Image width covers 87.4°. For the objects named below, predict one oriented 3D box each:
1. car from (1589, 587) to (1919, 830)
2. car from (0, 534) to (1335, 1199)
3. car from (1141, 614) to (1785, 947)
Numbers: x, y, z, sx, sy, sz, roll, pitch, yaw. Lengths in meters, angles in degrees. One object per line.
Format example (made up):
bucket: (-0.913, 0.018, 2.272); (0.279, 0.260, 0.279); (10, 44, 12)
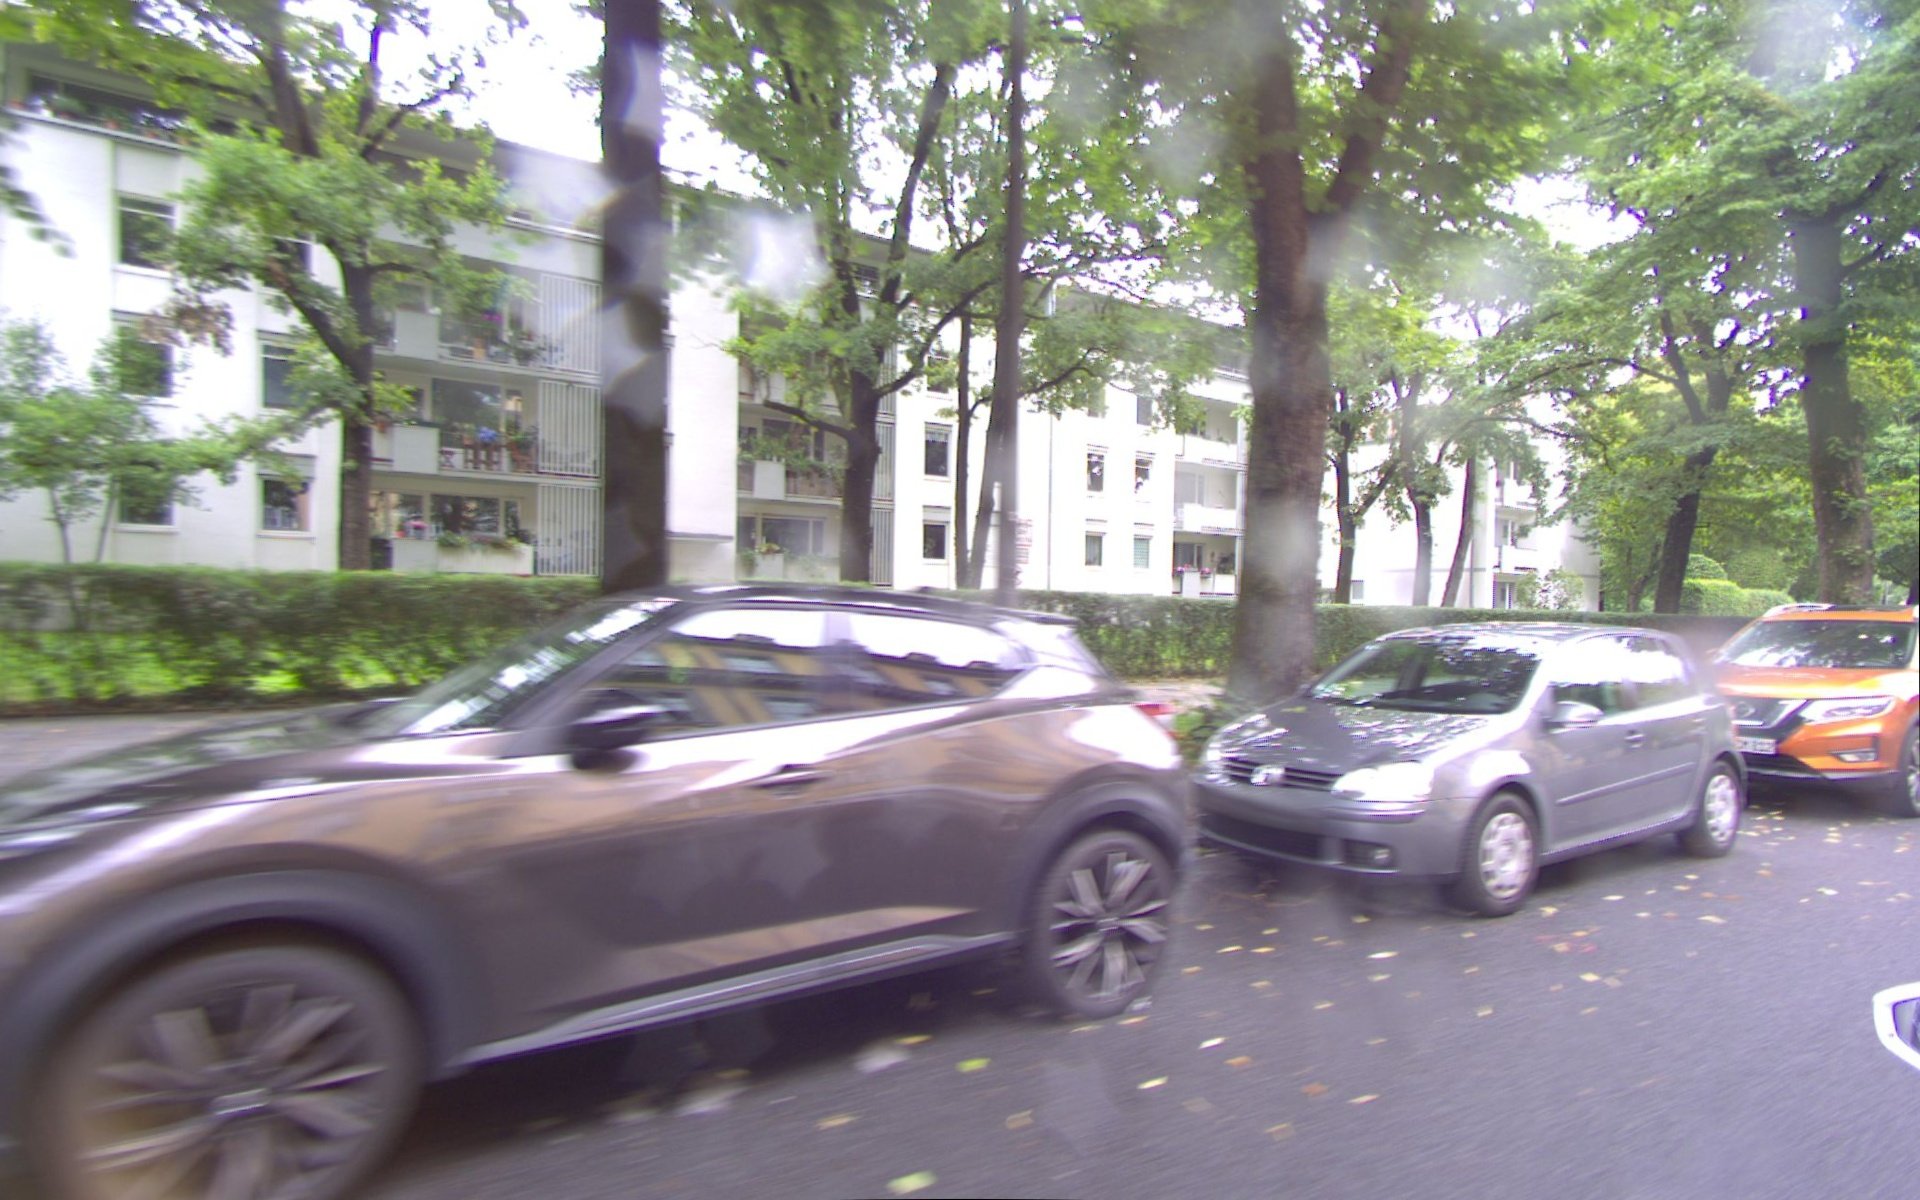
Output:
car: (7.998, 0.830, 9.221); (4.587, 1.751, 1.863); (2, 0, -31)
car: (-0.766, 0.691, 3.788); (4.437, 1.595, 1.776); (1, 0, -33)
car: (3.303, 0.850, 6.336); (4.205, 1.442, 1.717); (1, 0, -33)
